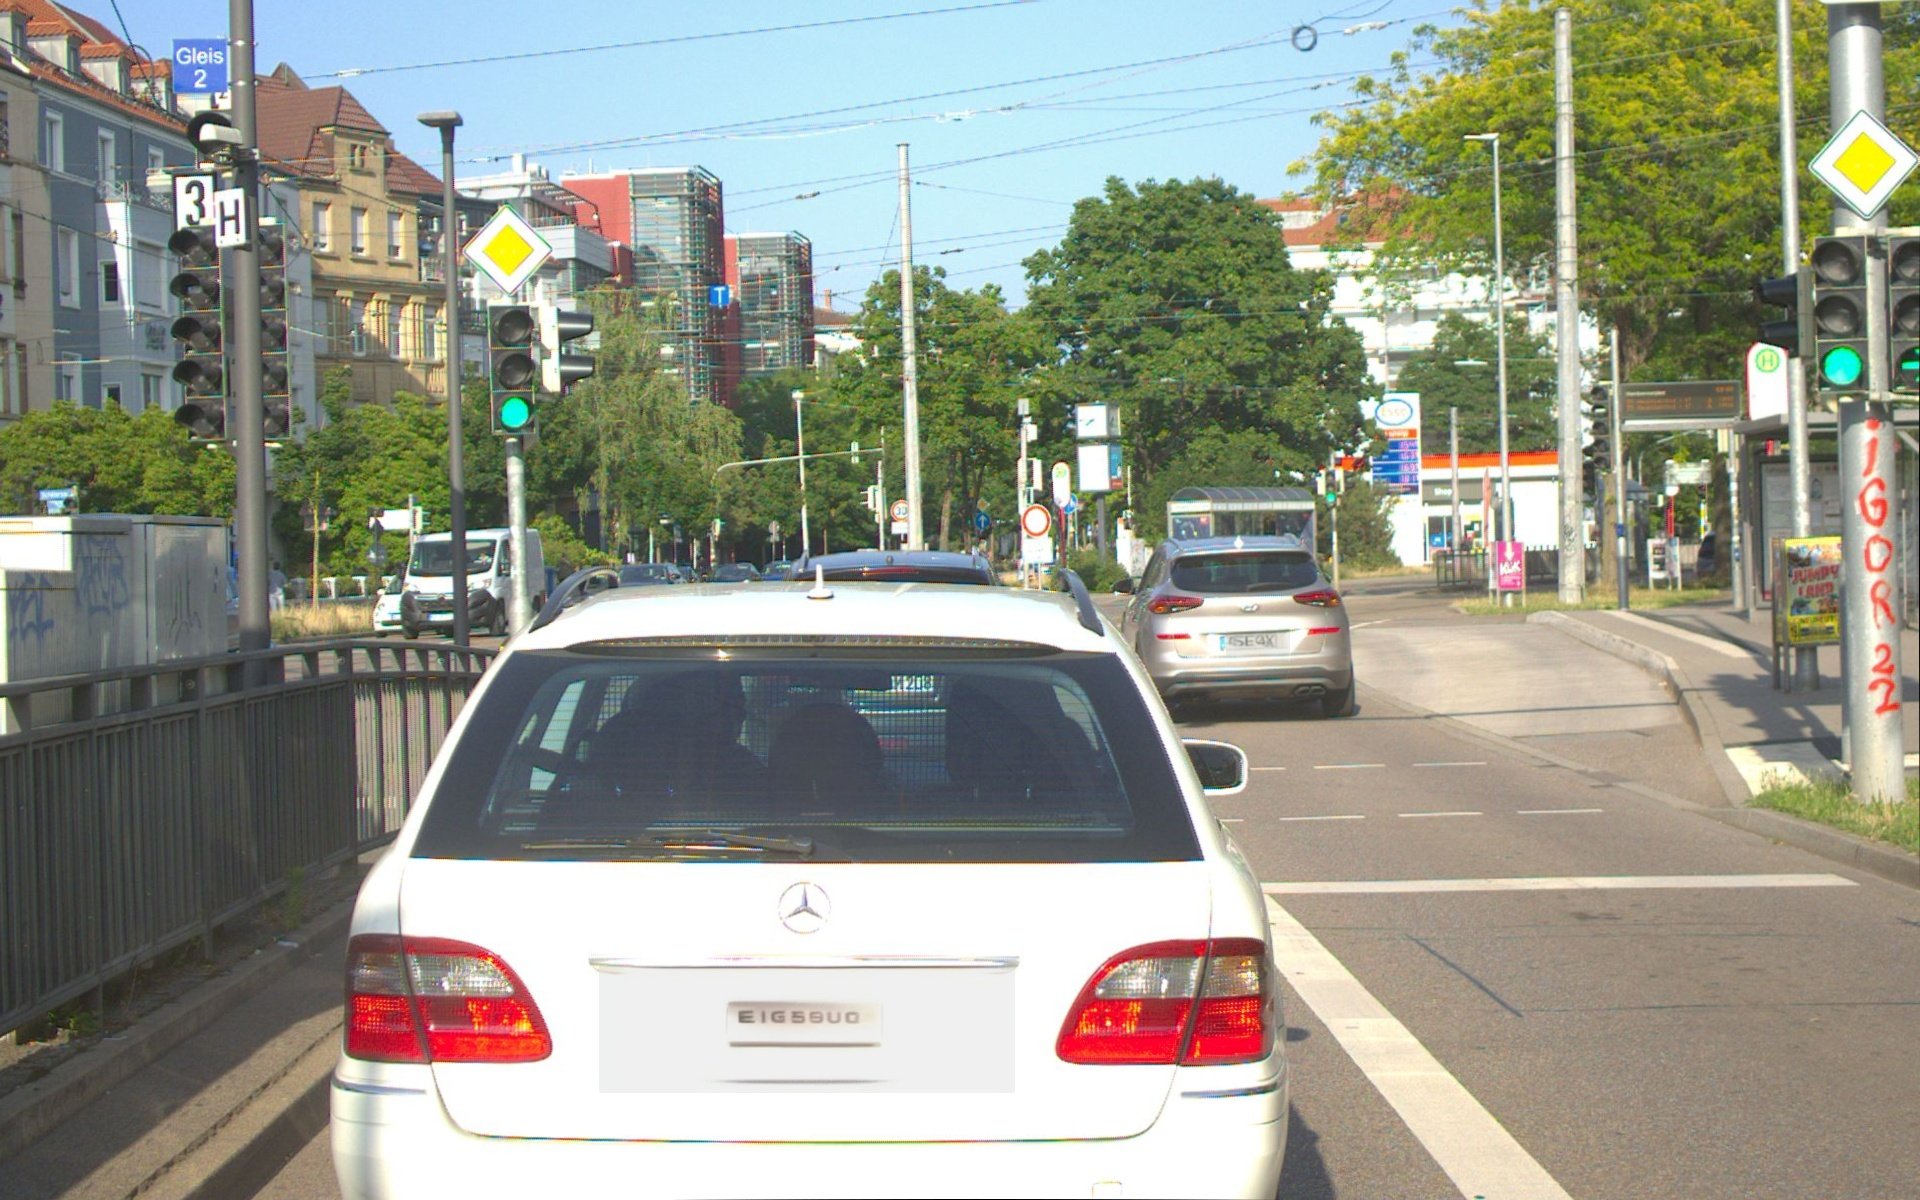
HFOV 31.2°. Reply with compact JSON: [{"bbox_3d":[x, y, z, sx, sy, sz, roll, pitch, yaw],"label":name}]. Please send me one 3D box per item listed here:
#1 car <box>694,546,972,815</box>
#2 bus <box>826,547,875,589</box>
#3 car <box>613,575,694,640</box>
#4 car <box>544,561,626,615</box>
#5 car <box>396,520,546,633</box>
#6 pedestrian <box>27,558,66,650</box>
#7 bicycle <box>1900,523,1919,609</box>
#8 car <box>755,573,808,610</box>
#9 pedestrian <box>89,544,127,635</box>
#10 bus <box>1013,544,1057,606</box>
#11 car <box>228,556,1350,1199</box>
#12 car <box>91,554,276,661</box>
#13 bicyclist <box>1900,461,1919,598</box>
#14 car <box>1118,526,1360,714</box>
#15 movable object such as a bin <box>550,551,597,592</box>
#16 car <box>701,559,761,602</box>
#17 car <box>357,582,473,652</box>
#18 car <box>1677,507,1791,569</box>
[{"bbox_3d":[-0.771,0.452,22.261,1.641,1.595,3.815,0,1,-1],"label":"car"},{"bbox_3d":[-4.433,-1.331,139.911,1.844,1.630,4.159,-2,1,0],"label":"bus"},{"bbox_3d":[-8.180,0.187,92.114,1.767,1.489,4.745,-2,2,-1],"label":"car"},{"bbox_3d":[-10.800,-0.358,99.284,1.767,1.428,4.000,-2,1,2],"label":"car"},{"bbox_3d":[-10.197,-0.534,72.066,2.177,2.231,5.253,-2,1,2],"label":"car"},{"bbox_3d":[-18.936,0.072,71.287,0.584,1.874,0.627,-2,1,-1],"label":"pedestrian"},{"bbox_3d":[12.550,-0.447,43.928,0.640,1.084,1.733,-4,1,3],"label":"bicycle"},{"bbox_3d":[-7.174,-0.366,138.504,1.689,1.415,4.000,-2,0,3],"label":"car"},{"bbox_3d":[-17.755,-0.226,71.626,0.584,1.874,0.627,-2,1,-1],"label":"pedestrian"},{"bbox_3d":[3.170,-1.036,144.765,1.798,2.546,4.000,1,0,1],"label":"bus"},{"bbox_3d":[-0.299,0.654,7.543,1.835,1.496,3.815,0,1,-1],"label":"car"},{"bbox_3d":[-12.463,0.088,55.411,1.677,1.520,4.124,-1,2,5],"label":"car"},{"bbox_3d":[12.533,-0.915,43.827,0.720,1.740,1.140,-5,0,3],"label":"bicyclist"},{"bbox_3d":[2.458,0.143,31.093,1.835,1.595,3.815,0,1,-1],"label":"car"},{"bbox_3d":[-13.689,-1.008,121.757,1.602,1.416,1.085,-2,1,-7],"label":"movable object such as a bin"},{"bbox_3d":[-8.422,-0.734,126.878,1.689,1.436,4.000,-2,1,3],"label":"car"},{"bbox_3d":[-12.520,0.367,79.232,1.794,1.452,4.000,-2,1,3],"label":"car"},{"bbox_3d":[20.906,-1.681,92.812,1.856,1.510,3.994,-3,0,30],"label":"car"}]
